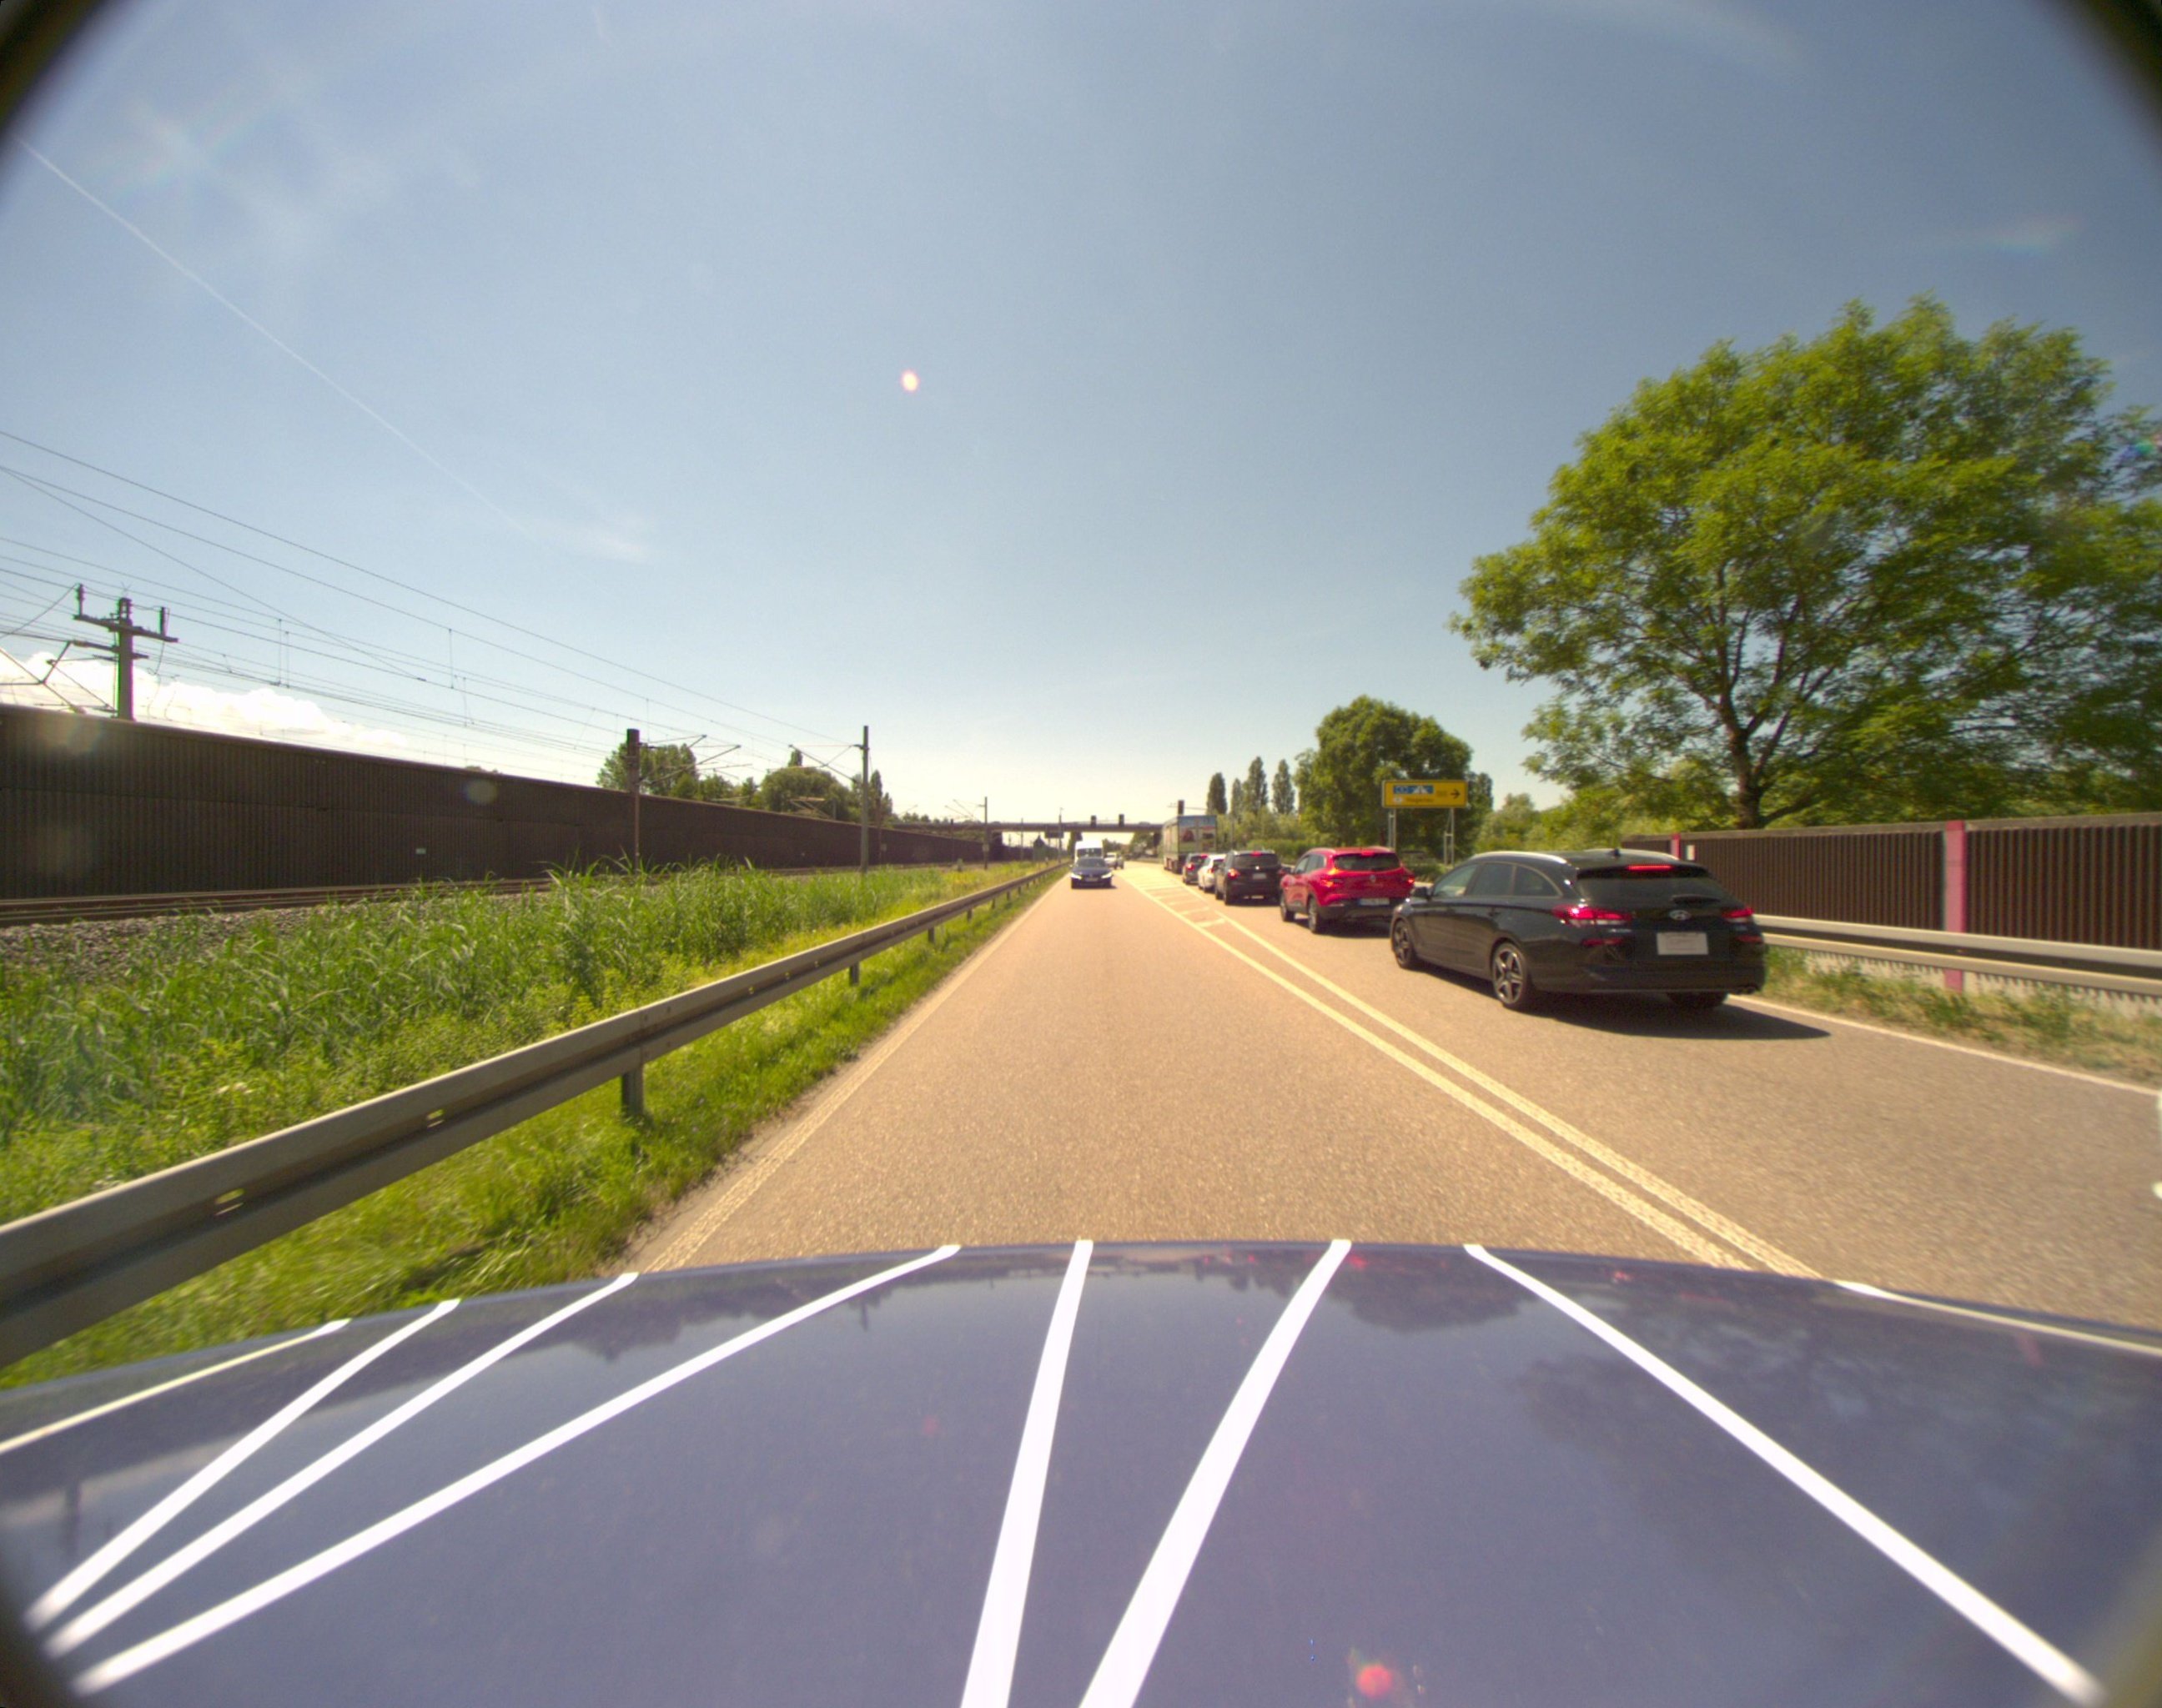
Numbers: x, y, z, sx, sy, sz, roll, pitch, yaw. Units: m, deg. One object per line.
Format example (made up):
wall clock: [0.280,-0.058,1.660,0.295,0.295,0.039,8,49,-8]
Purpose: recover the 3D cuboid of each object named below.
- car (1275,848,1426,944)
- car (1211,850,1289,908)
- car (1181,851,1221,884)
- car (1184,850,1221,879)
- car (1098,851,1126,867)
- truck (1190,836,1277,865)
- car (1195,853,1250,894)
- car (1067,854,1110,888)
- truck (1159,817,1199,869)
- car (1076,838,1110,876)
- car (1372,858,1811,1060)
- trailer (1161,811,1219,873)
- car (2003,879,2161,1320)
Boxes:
car: [5.203,0.725,15.285,1.759,1.622,4.280,-1,0,4]
car: [5.139,0.703,23.673,1.720,1.580,4.536,-1,0,4]
car: [5.878,0.633,37.541,1.627,1.529,4.386,0,0,5]
car: [7.076,0.576,44.524,1.716,1.553,4.155,-1,0,3]
car: [2.957,0.425,71.383,1.718,1.427,3.964,0,0,16]
truck: [17.054,-0.349,85.190,9.174,3.177,2.694,0,1,-6]
car: [5.562,0.708,30.271,1.657,1.470,4.631,-1,0,5]
car: [0.394,0.767,35.718,1.847,1.415,4.563,-1,0,2]
truck: [8.121,-0.905,63.651,2.696,4.021,5.825,-2,1,2]
car: [0.932,0.214,53.213,2.227,2.480,5.983,-1,0,2]
car: [4.762,0.814,8.082,1.689,1.451,4.616,-2,0,2]
trailer: [7.894,-0.838,56.861,2.696,4.021,14.125,-2,1,2]
car: [4.405,0.829,0.656,1.689,1.451,4.616,-2,0,2]
